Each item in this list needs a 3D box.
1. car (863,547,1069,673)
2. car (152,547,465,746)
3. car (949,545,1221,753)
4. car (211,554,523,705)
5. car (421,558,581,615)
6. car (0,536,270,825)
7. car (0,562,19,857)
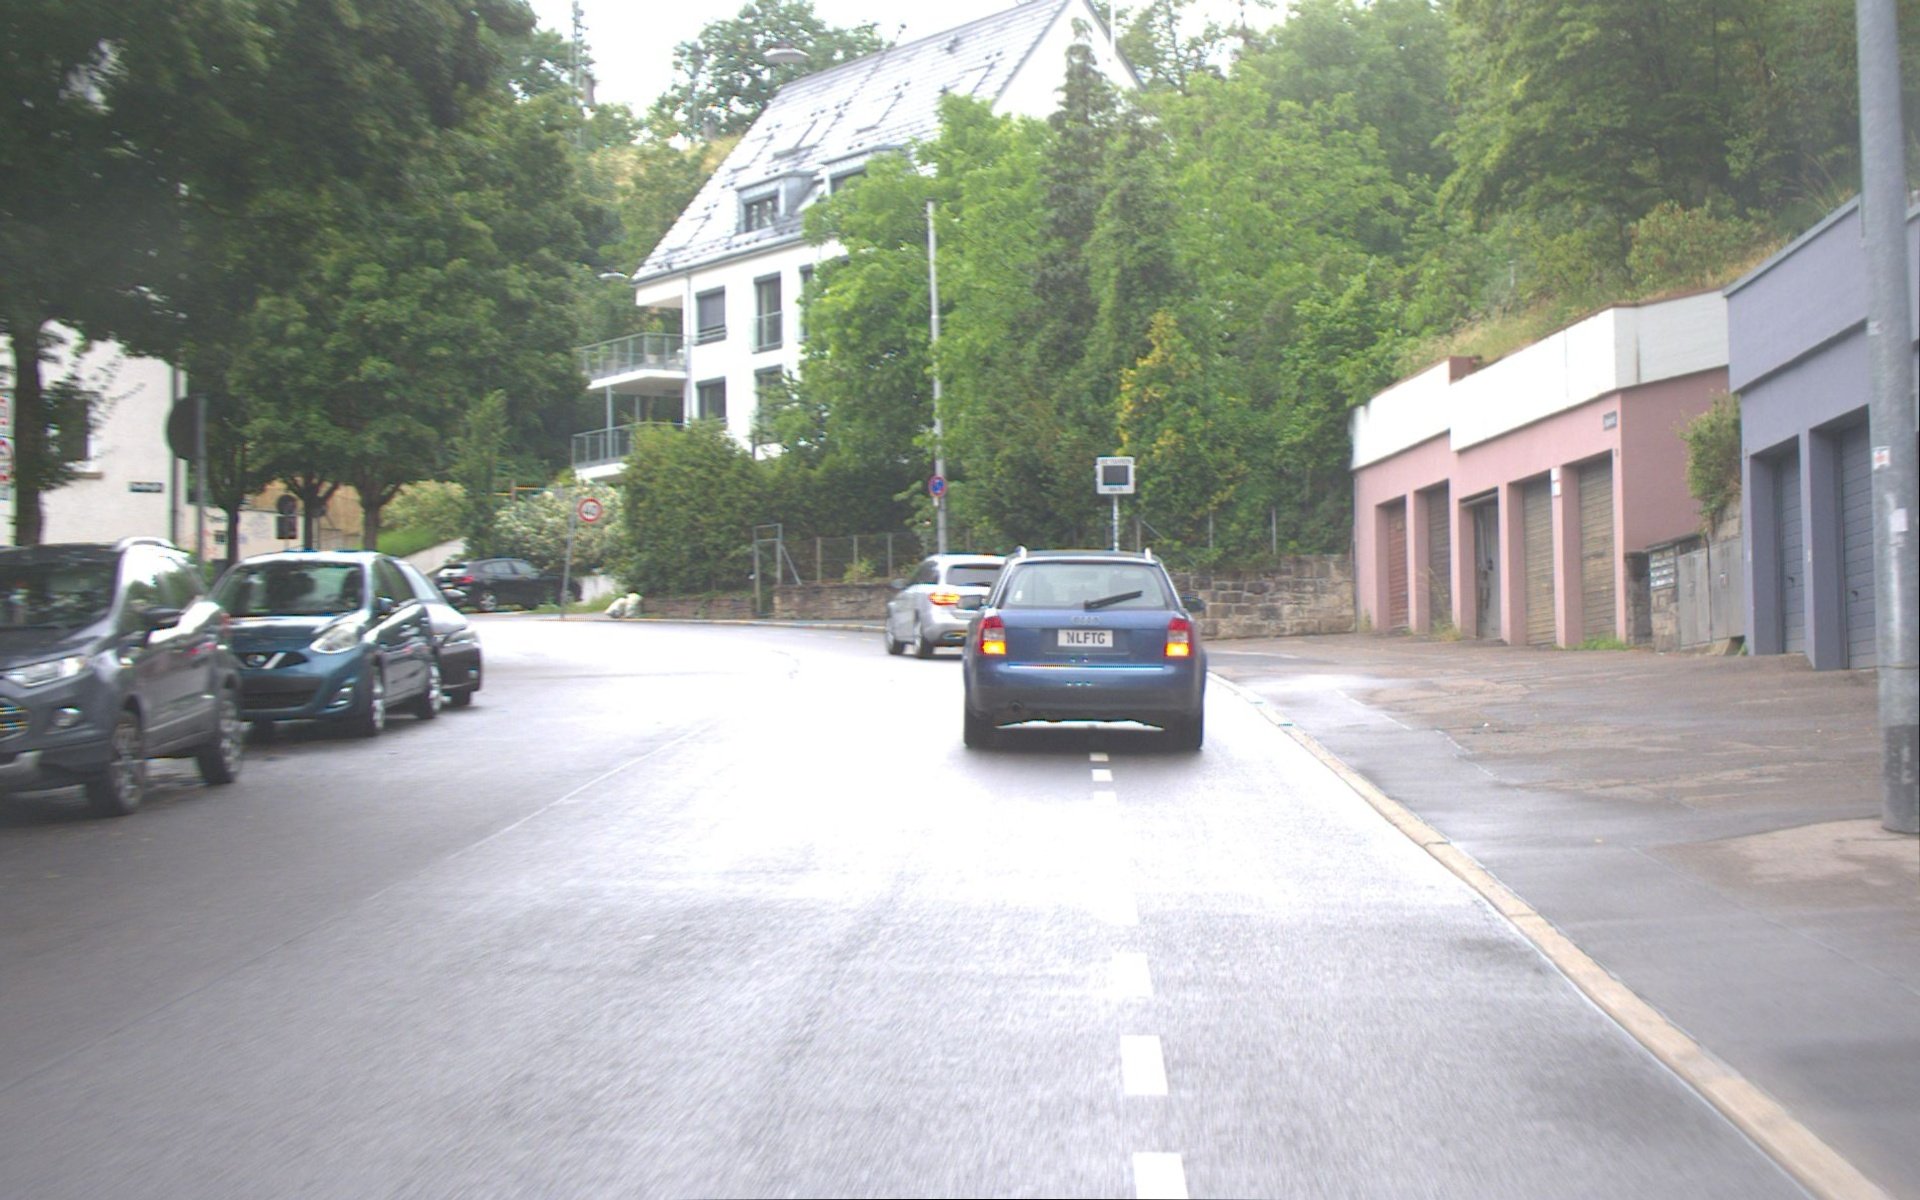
[{"bbox_3d":[0.030,0.106,48.923,1.949,1.556,4.265,4,1,-13],"label":"car"},{"bbox_3d":[-5.414,0.336,29.015,1.713,1.457,3.881,2,2,2],"label":"car"},{"bbox_3d":[0.913,0.301,25.805,1.854,1.409,4.361,1,1,1],"label":"car"},{"bbox_3d":[-5.888,0.264,33.763,1.993,1.386,4.198,0,0,-25],"label":"car"},{"bbox_3d":[-12.407,-0.350,93.153,1.739,1.503,4.172,1,0,42],"label":"car"},{"bbox_3d":[-5.699,0.434,21.509,1.805,1.621,4.139,1,0,2],"label":"car"},{"bbox_3d":[-5.871,0.569,15.361,1.805,1.547,4.799,-4,-1,2],"label":"car"}]
